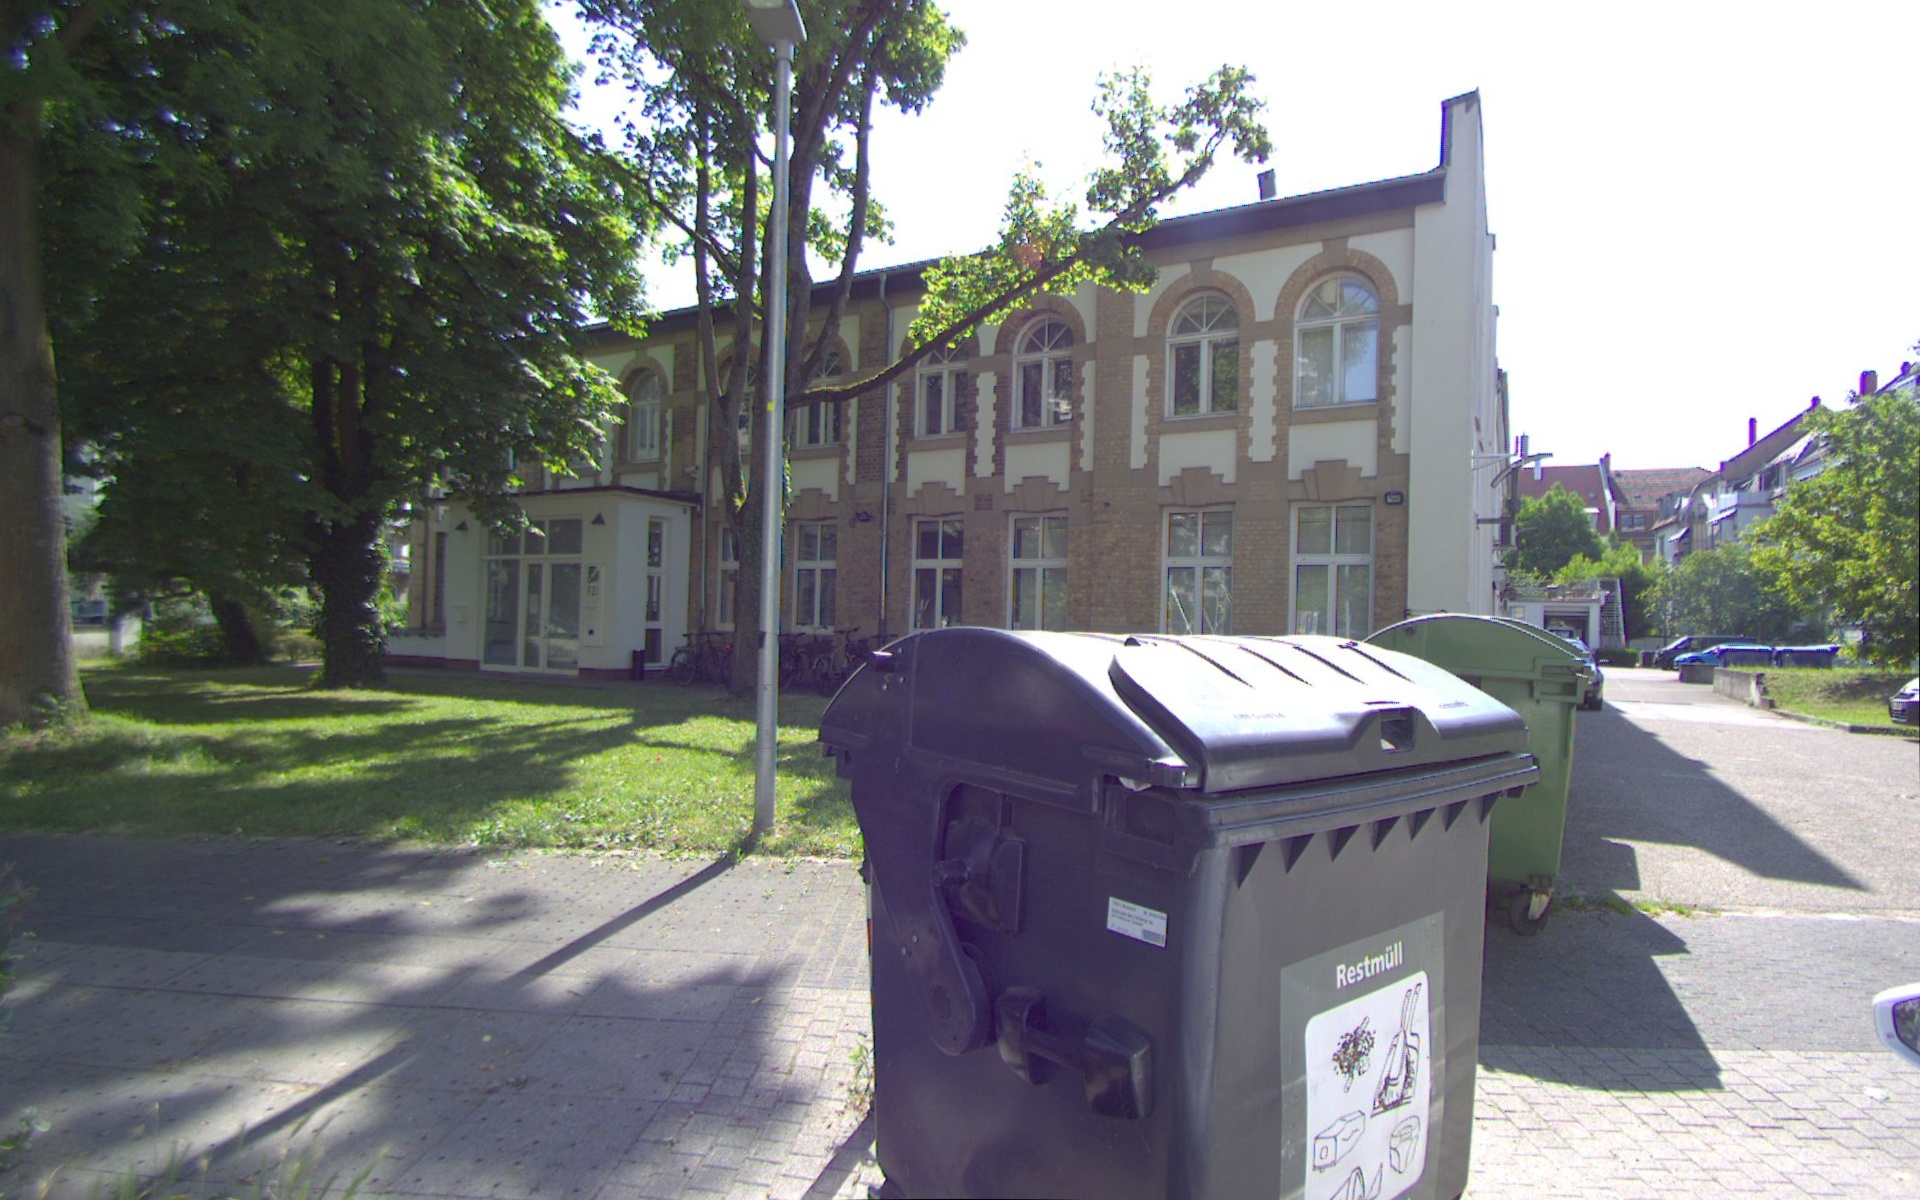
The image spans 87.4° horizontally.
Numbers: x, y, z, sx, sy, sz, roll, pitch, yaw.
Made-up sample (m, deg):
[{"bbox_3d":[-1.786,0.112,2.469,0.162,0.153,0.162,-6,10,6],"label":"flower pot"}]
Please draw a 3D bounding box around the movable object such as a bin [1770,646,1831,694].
[{"bbox_3d":[24.922,2.072,29.813,1.137,1.354,1.141,0,-2,26],"label":"movable object such as a bin"}]

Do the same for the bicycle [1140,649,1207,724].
[{"bbox_3d":[3.189,1.255,14.888,0.438,1.005,1.681,-1,-1,32],"label":"bicycle"}]

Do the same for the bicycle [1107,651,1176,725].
[{"bbox_3d":[2.750,1.293,15.114,0.438,1.005,1.662,-1,-1,32],"label":"bicycle"}]

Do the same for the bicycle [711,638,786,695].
[{"bbox_3d":[-3.948,1.227,18.811,0.438,1.005,1.537,-1,-1,32],"label":"bicycle"}]

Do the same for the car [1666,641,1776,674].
[{"bbox_3d":[38.744,2.916,51.287,4.164,1.552,1.998,-1,-1,26],"label":"car"}]

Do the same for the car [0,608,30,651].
[{"bbox_3d":[-39.292,1.123,39.427,3.968,1.684,1.808,2,-2,-41],"label":"car"}]

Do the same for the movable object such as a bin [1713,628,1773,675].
[{"bbox_3d":[23.689,1.538,30.426,1.228,1.373,1.128,0,-2,26],"label":"movable object such as a bin"}]

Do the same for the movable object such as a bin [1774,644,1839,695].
[{"bbox_3d":[23.799,1.944,28.275,1.230,1.358,1.140,0,-2,32],"label":"movable object such as a bin"}]

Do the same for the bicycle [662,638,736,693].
[{"bbox_3d":[-5.048,1.265,19.499,0.437,1.005,1.539,2,-2,27],"label":"bicycle"}]

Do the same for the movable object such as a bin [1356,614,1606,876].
[{"bbox_3d":[3.225,0.832,6.400,1.223,1.450,1.224,1,-1,18],"label":"movable object such as a bin"}]

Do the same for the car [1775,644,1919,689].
[{"bbox_3d":[31.125,2.281,34.975,3.926,1.446,1.810,0,-2,27],"label":"car"}]

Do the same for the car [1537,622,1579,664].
[{"bbox_3d":[39.142,2.834,65.844,2.142,2.641,6.724,-1,-3,29],"label":"car"}]

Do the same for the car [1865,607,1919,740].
[{"bbox_3d":[16.624,1.127,14.517,4.951,1.958,1.996,1,-1,31],"label":"car"}]

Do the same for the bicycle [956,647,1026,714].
[{"bbox_3d":[0.525,1.292,16.429,0.438,1.005,1.537,-1,-1,32],"label":"bicycle"}]

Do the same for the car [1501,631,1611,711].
[{"bbox_3d":[12.756,1.521,21.714,1.809,1.460,4.424,2,-3,28],"label":"car"}]

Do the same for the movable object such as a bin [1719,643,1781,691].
[{"bbox_3d":[22.682,1.931,28.873,1.229,1.336,1.140,-2,-4,31],"label":"movable object such as a bin"}]

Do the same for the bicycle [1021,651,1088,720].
[{"bbox_3d":[1.511,1.322,15.866,0.438,1.005,1.537,-1,-1,32],"label":"bicycle"}]

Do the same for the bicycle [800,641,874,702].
[{"bbox_3d":[-2.160,1.241,17.788,0.438,1.005,1.537,-1,-1,32],"label":"bicycle"}]

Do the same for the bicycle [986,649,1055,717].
[{"bbox_3d":[0.998,1.310,16.160,0.438,1.005,1.537,-1,-1,32],"label":"bicycle"}]

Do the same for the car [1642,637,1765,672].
[{"bbox_3d":[40.067,2.914,54.274,4.869,1.791,2.097,0,-1,17],"label":"car"}]

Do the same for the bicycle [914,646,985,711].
[{"bbox_3d":[-0.156,1.279,16.720,0.438,1.005,1.537,-1,-1,32],"label":"bicycle"}]

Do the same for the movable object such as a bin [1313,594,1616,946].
[{"bbox_3d":[2.525,0.749,5.183,1.224,1.501,1.338,0,-1,24],"label":"movable object such as a bin"}]

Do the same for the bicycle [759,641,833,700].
[{"bbox_3d":[-2.966,1.265,18.331,0.438,1.005,1.537,-1,-1,32],"label":"bicycle"}]

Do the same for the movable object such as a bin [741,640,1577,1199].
[{"bbox_3d":[0.452,0.815,2.222,1.394,1.415,1.232,2,-2,-43],"label":"movable object such as a bin"}]

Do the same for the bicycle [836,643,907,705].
[{"bbox_3d":[-1.534,1.261,17.548,0.438,1.005,1.538,-1,-1,30],"label":"bicycle"}]

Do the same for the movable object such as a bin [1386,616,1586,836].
[{"bbox_3d":[3.950,0.864,7.580,1.225,1.450,1.364,0,-2,29],"label":"movable object such as a bin"}]

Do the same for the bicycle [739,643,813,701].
[{"bbox_3d":[-3.381,1.303,18.563,0.368,1.002,1.596,0,-1,32],"label":"bicycle"}]

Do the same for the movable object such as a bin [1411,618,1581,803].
[{"bbox_3d":[4.716,0.907,8.880,1.225,1.450,1.348,0,-2,29],"label":"movable object such as a bin"}]
